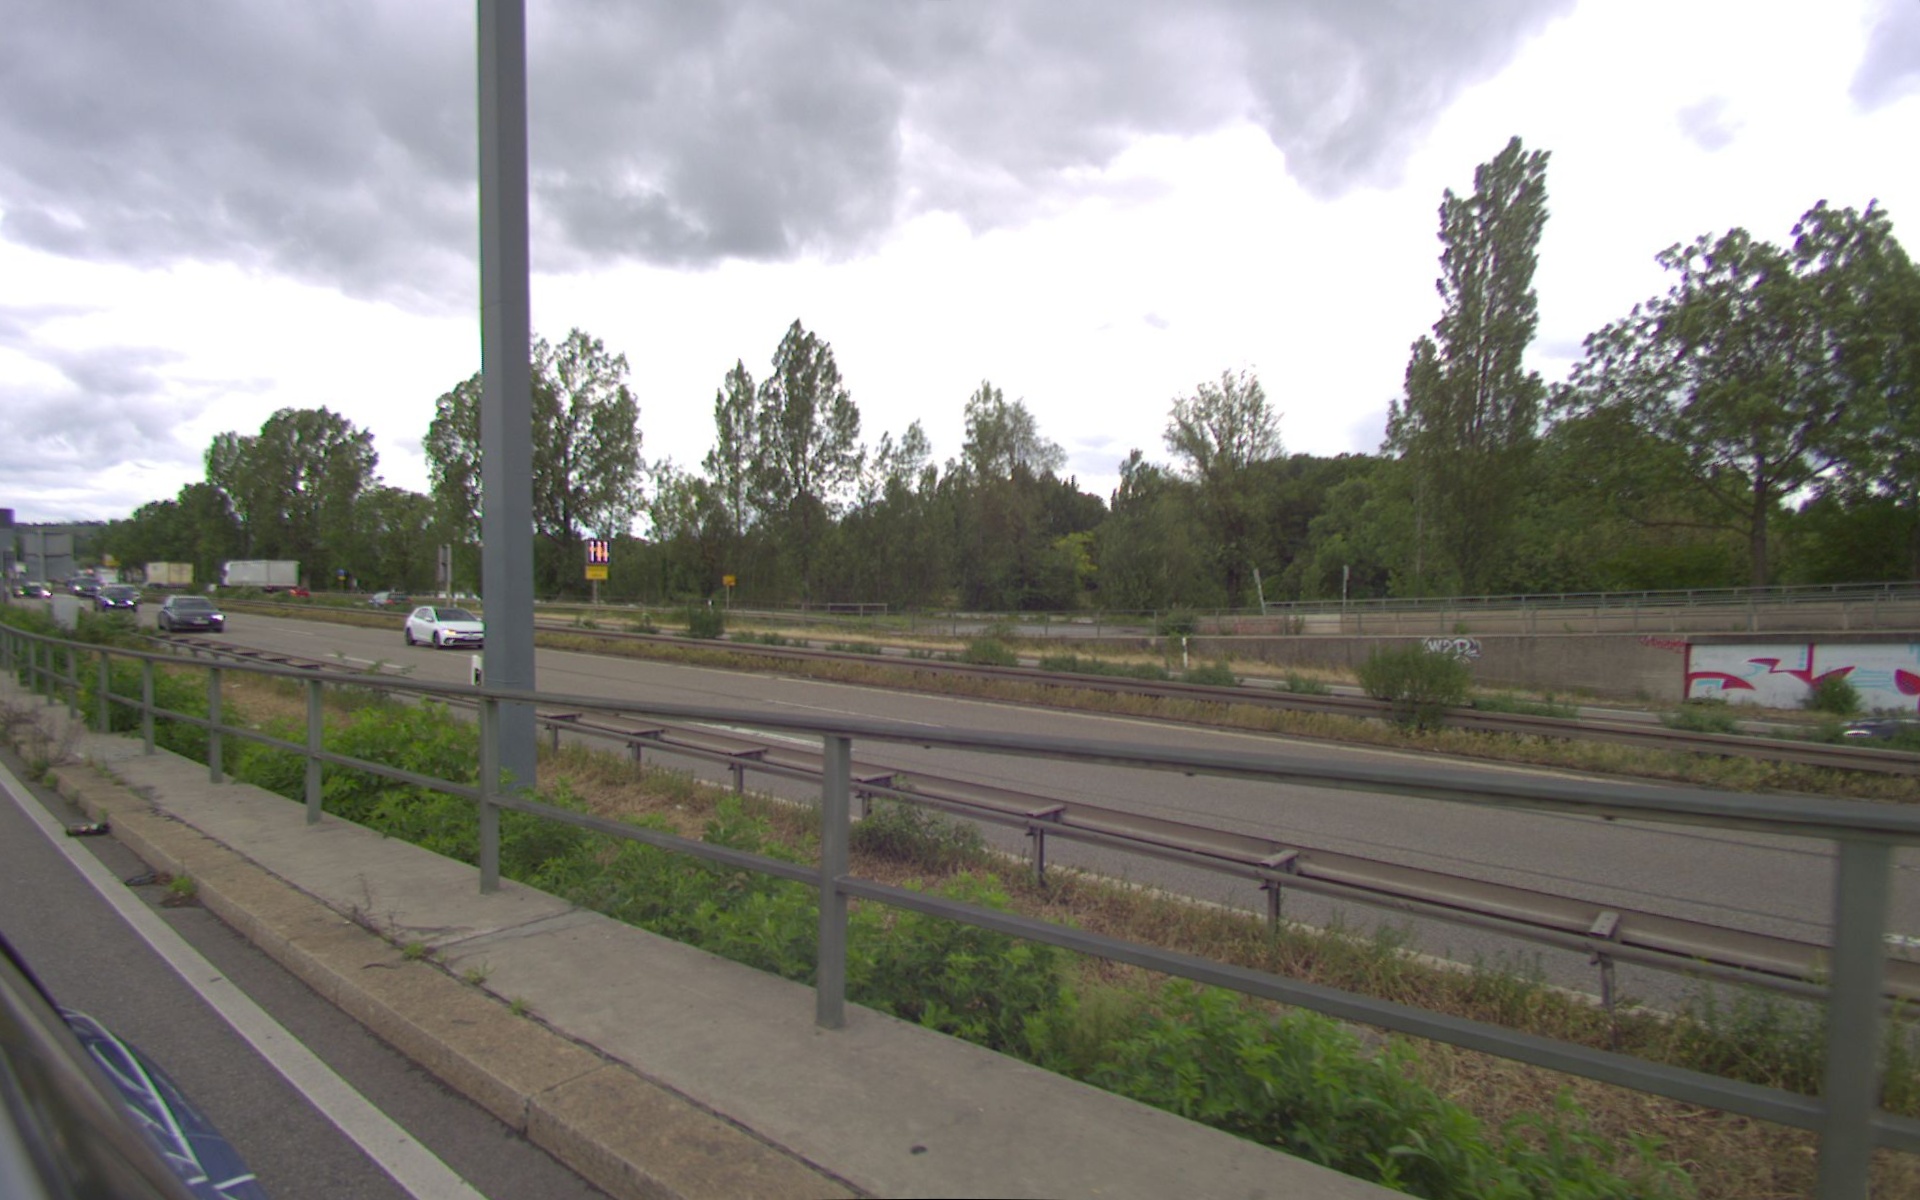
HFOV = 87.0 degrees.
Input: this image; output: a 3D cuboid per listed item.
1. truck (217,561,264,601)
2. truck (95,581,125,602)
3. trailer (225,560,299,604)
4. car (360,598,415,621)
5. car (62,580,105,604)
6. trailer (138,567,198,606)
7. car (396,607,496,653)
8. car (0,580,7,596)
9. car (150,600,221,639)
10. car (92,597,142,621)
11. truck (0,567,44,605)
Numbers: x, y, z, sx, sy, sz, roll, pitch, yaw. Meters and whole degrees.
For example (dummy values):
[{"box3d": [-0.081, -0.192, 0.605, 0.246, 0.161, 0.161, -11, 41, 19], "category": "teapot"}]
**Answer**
[{"box3d": [-73.074, -1.934, 102.791, 5.311, 3.966, 2.760, 1, 2, 42], "category": "truck"}, {"box3d": [-152.588, -1.601, 181.718, 6.330, 3.670, 2.954, 0, 2, 39], "category": "truck"}, {"box3d": [-67.702, -1.804, 97.960, 13.510, 3.978, 2.760, 1, 2, 42], "category": "trailer"}, {"box3d": [-37.551, 0.619, 66.375, 3.999, 1.446, 1.972, 0, 0, 42], "category": "car"}, {"box3d": [-79.628, -0.739, 91.914, 5.334, 2.029, 2.073, 2, 1, 39], "category": "car"}, {"box3d": [-101.658, -1.732, 129.726, 14.777, 4.708, 3.427, 1, 1, 41], "category": "trailer"}, {"box3d": [-18.364, 1.018, 36.107, 3.998, 1.511, 1.835, 0, 0, 41], "category": "car"}, {"box3d": [-125.273, -1.515, 131.373, 3.999, 2.029, 1.972, 0, 0, 42], "category": "car"}, {"box3d": [-31.746, 0.783, 41.435, 1.912, 1.512, 4.309, 2, -1, -42], "category": "car"}, {"box3d": [-49.787, 0.528, 59.739, 3.646, 1.337, 1.706, 0, 0, 41], "category": "car"}, {"box3d": [-84.456, -1.277, 90.640, 7.571, 3.182, 2.998, 2, 0, 44], "category": "truck"}]
